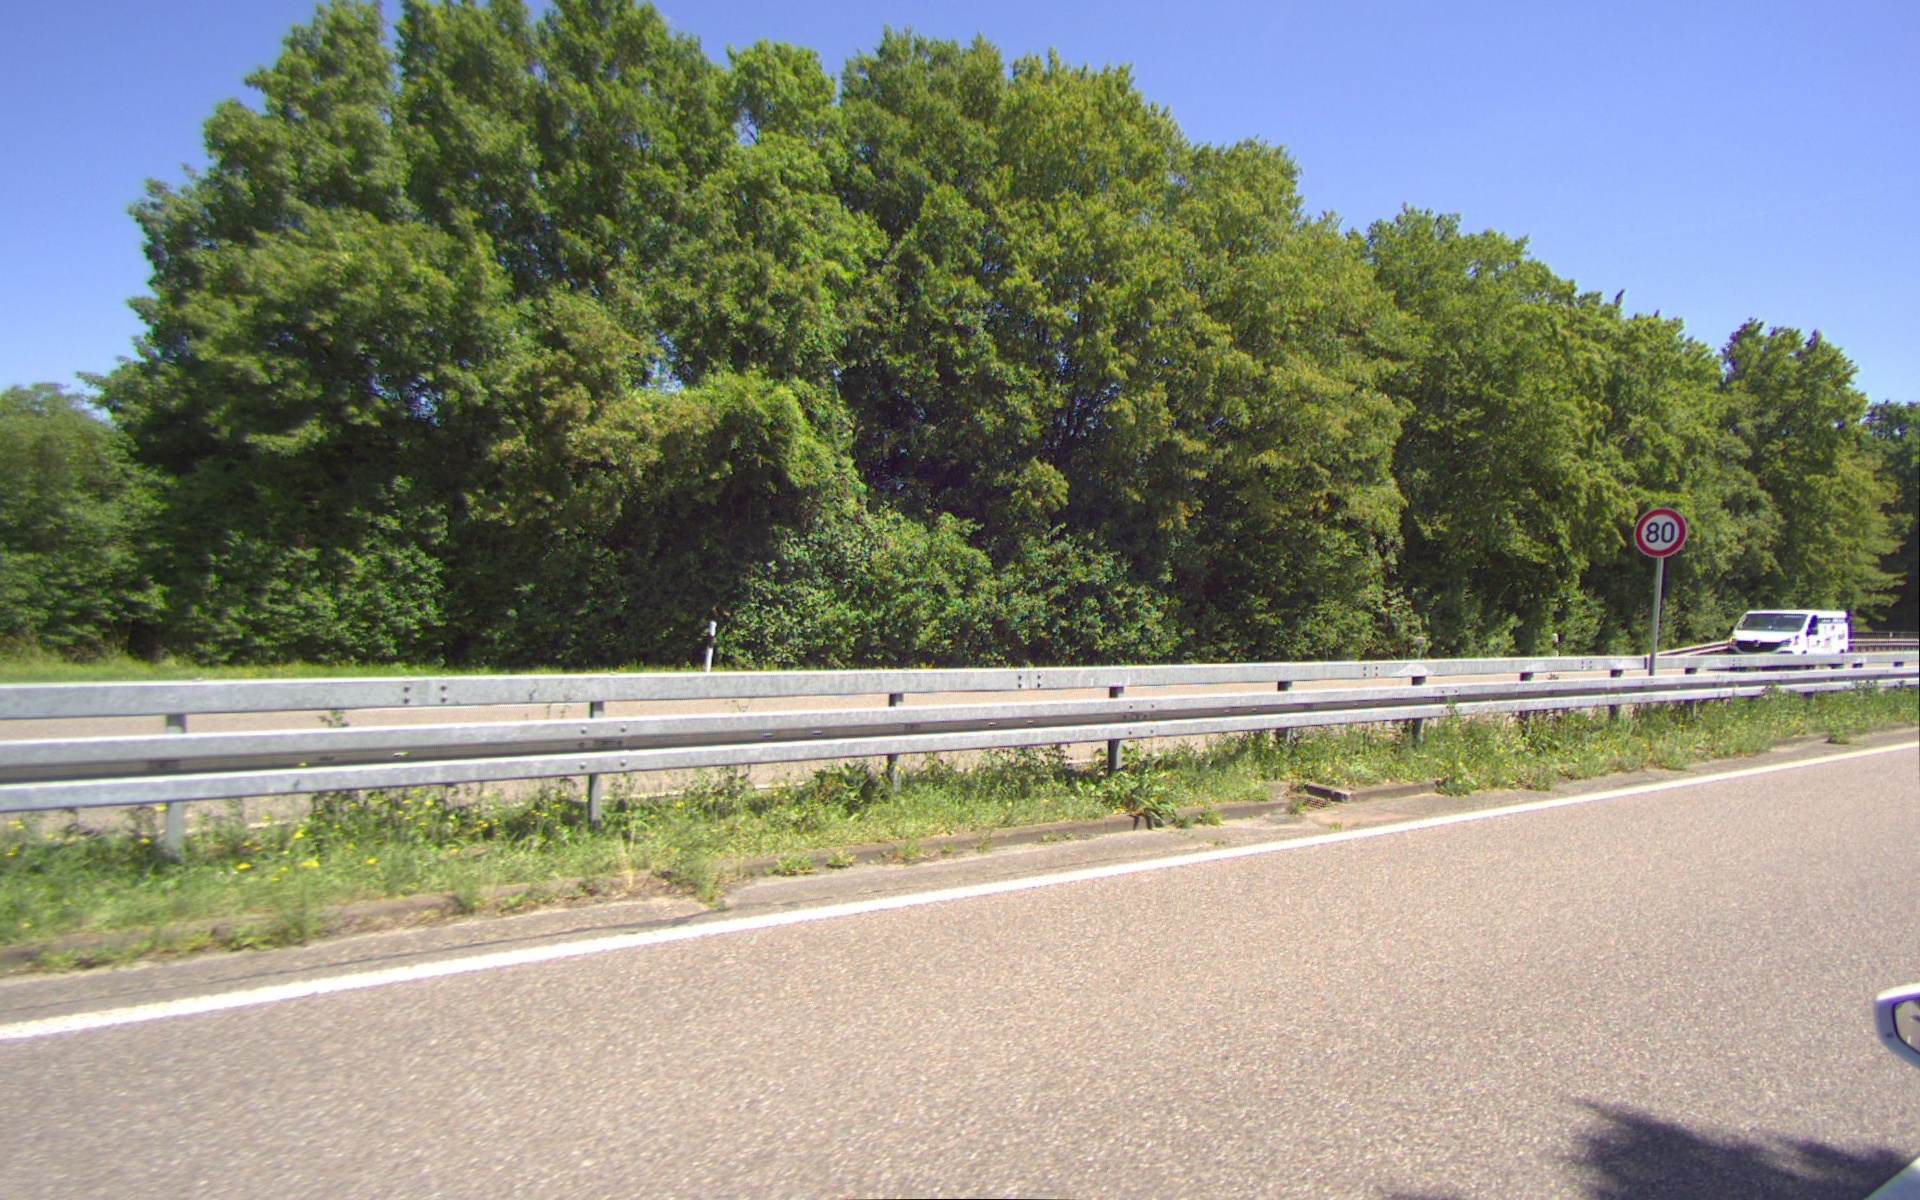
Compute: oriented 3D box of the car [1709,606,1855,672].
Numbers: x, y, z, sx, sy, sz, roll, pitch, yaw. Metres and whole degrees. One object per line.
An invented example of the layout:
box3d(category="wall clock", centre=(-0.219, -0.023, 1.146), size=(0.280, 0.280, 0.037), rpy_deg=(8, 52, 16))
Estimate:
box3d(category="car", centre=(26.534, 1.227, 32.372), size=(5.578, 1.977, 1.978), rpy_deg=(1, 0, -32))
